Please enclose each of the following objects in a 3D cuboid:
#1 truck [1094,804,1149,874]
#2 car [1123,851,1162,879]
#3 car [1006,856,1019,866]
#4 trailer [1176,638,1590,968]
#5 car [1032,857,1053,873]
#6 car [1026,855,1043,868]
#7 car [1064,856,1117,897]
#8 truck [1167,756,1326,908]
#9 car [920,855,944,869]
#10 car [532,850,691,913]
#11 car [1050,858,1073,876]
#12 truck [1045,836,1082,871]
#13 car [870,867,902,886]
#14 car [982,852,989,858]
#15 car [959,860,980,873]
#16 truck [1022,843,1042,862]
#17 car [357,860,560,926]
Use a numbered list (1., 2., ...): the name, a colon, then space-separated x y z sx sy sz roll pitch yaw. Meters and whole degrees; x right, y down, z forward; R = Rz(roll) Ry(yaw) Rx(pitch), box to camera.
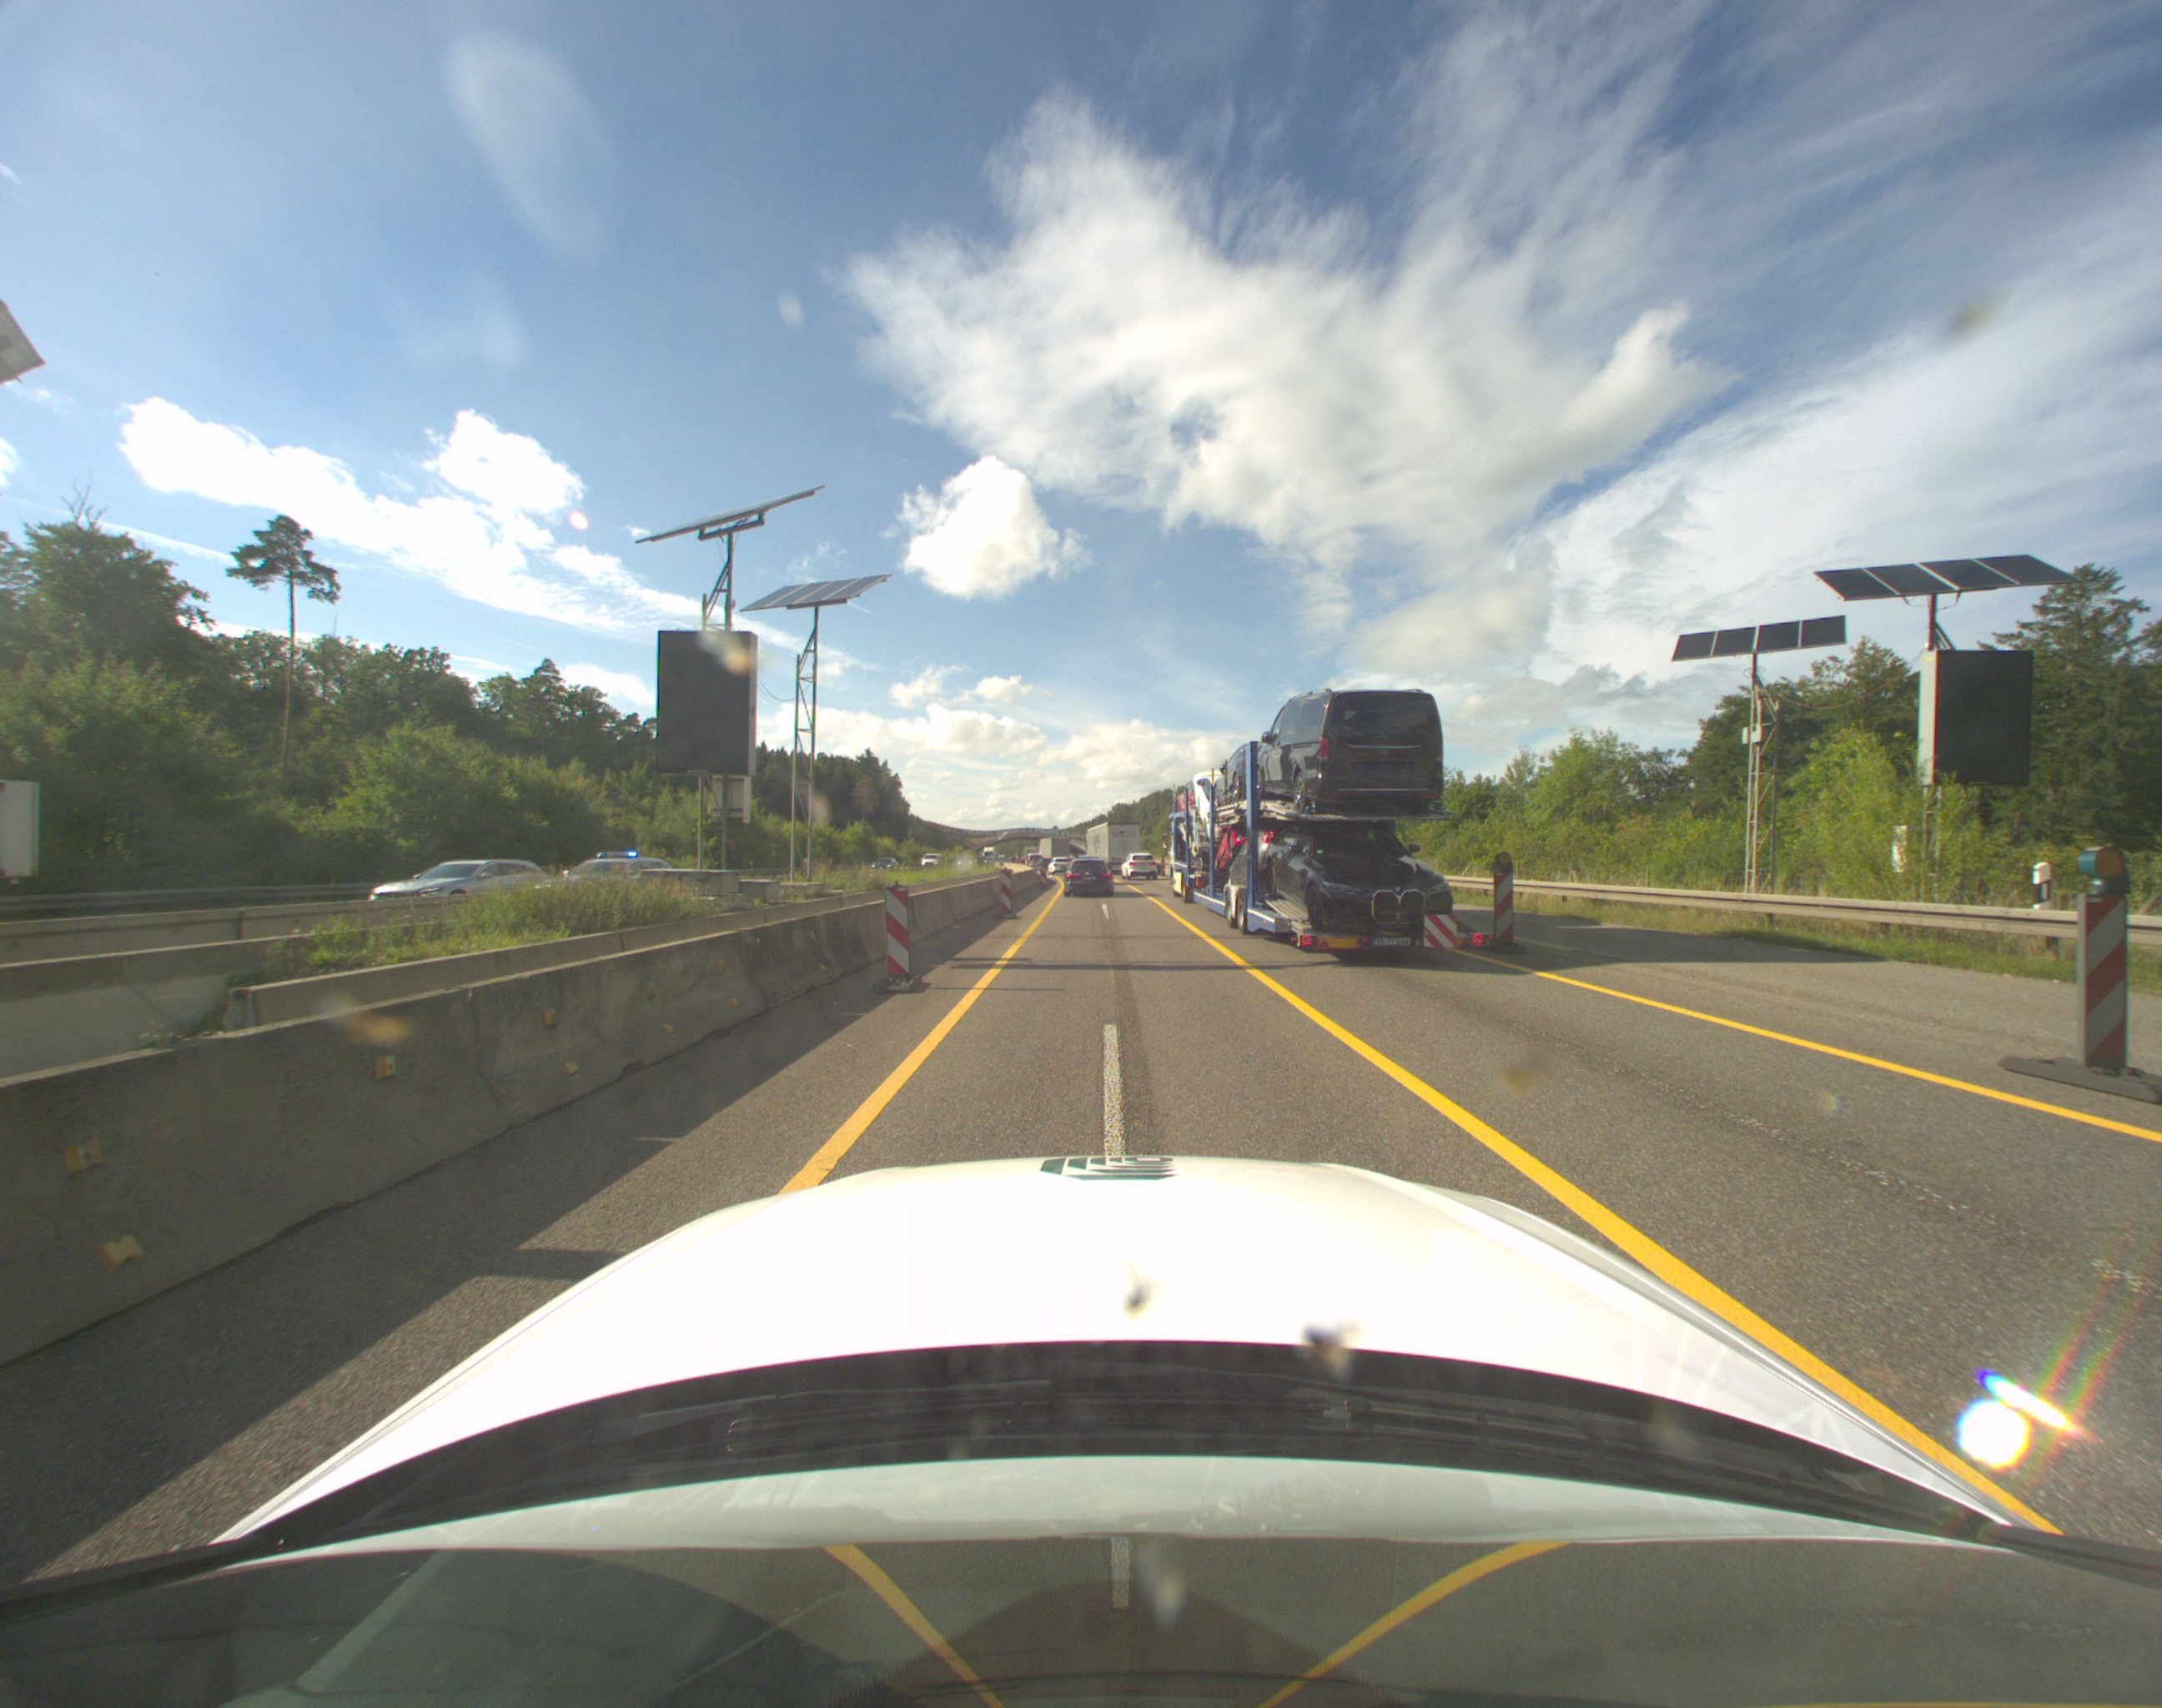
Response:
1. truck: 3.256 -1.116 70.940 3.667 5.353 16.191 0 0 -1
2. car: 3.795 0.681 50.823 1.886 1.643 4.013 0 0 -3
3. car: -11.677 1.173 139.415 1.779 1.602 4.002 0 0 -11
4. trailer: 4.804 -0.624 18.511 3.713 4.196 16.231 0 0 1
5. car: -4.110 1.162 86.636 1.889 1.643 4.006 0 0 -8
6. car: -5.811 0.926 101.200 1.888 1.643 4.008 0 0 -7
7. car: 0.324 0.816 31.116 1.884 1.446 3.999 0 0 0
8. truck: 5.015 -0.591 26.624 3.748 4.196 7.952 0 0 1
9. car: -18.095 0.971 99.256 1.962 1.602 4.946 0 0 0
10. car: -13.140 0.704 23.189 1.772 1.602 4.676 0 0 0
11. car: -1.642 1.032 67.357 1.885 1.446 3.996 0 0 -2
12. truck: -2.550 -0.047 114.772 4.314 4.600 11.101 0 0 -6
13. car: -17.606 2.046 73.637 1.772 1.602 4.676 0 0 0
14. car: -27.454 0.325 234.532 1.775 1.866 3.997 0 0 -2
15. car: -14.462 1.587 106.062 1.962 1.602 4.946 0 0 0
16. truck: -10.436 -0.206 173.164 3.651 3.928 11.039 0 0 -7
17. car: -16.699 0.965 22.221 1.770 1.602 4.680 0 0 3
